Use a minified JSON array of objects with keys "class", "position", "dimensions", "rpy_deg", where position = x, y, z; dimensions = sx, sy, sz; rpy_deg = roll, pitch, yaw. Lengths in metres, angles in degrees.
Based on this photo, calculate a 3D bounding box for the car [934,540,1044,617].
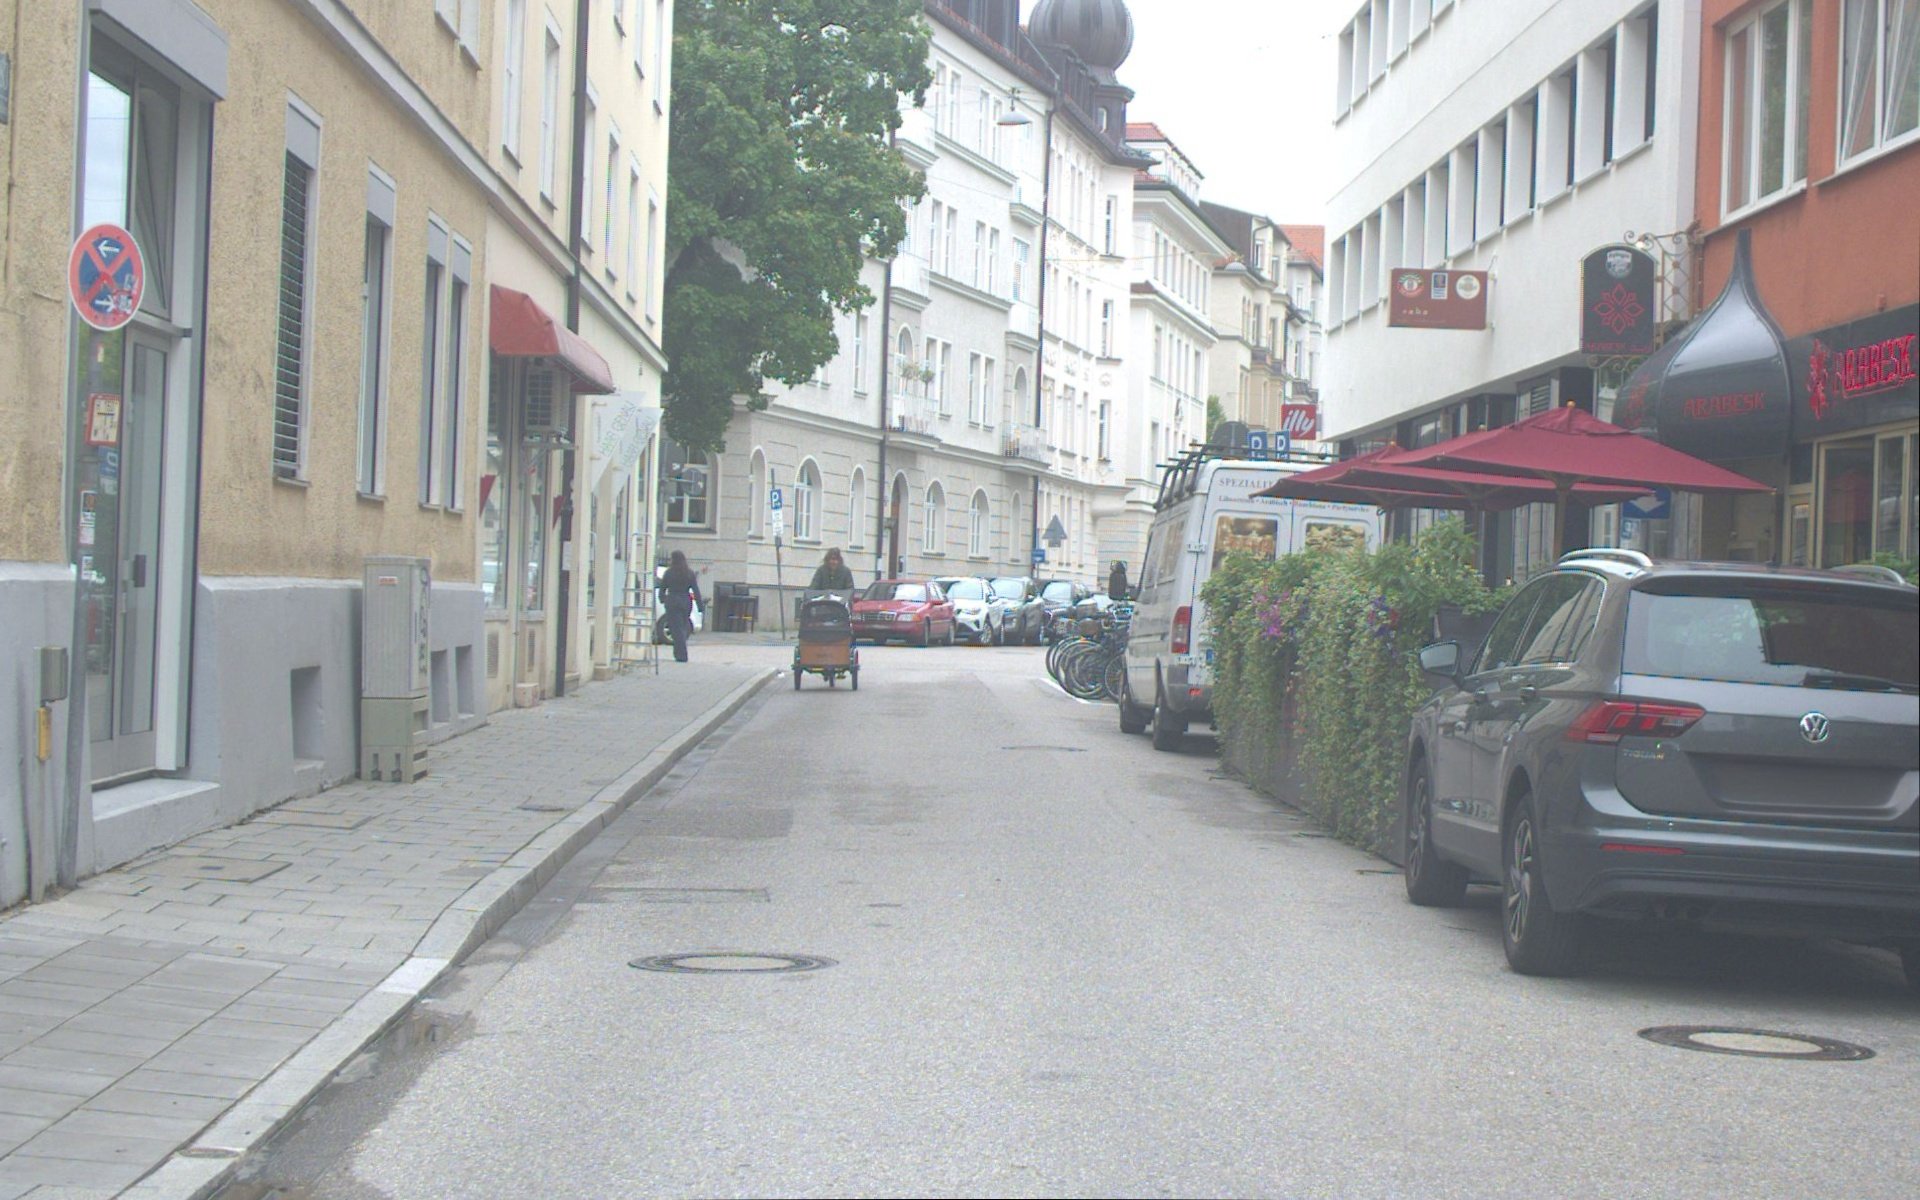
[{"class":"car","position":[0.720,-0.491,81.546],"dimensions":[1.943,1.696,3.998],"rpy_deg":[3,0,9]}]

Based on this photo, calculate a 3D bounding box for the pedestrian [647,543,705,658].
[{"class":"pedestrian","position":[-4.149,0.001,50.184],"dimensions":[0.692,1.627,0.663],"rpy_deg":[3,0,-11]}]

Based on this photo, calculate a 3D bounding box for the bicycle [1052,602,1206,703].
[{"class":"bicycle","position":[2.142,0.664,43.707],"dimensions":[1.873,1.200,0.488],"rpy_deg":[2,1,-3]}]

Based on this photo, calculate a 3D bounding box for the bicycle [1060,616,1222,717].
[{"class":"bicycle","position":[2.224,0.817,42.382],"dimensions":[1.873,1.076,0.488],"rpy_deg":[4,1,-3]}]

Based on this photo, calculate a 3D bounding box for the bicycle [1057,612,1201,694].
[{"class":"bicycle","position":[2.301,0.728,46.997],"dimensions":[1.873,1.048,0.564],"rpy_deg":[2,-1,-4]}]

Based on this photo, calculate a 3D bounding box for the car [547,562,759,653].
[{"class":"car","position":[-5.650,0.139,63.009],"dimensions":[3.757,1.572,2.000],"rpy_deg":[1,0,-7]}]

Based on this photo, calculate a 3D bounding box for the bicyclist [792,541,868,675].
[{"class":"bicyclist","position":[-1.686,0.100,44.771],"dimensions":[0.926,1.715,1.099],"rpy_deg":[1,0,0]}]

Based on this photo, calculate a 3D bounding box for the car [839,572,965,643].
[{"class":"car","position":[-1.169,0.165,71.587],"dimensions":[1.731,1.373,4.224],"rpy_deg":[2,0,11]}]

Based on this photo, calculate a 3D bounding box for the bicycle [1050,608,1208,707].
[{"class":"bicycle","position":[2.122,0.720,43.187],"dimensions":[1.873,1.104,0.488],"rpy_deg":[4,1,-3]}]

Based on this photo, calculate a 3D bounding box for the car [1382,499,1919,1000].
[{"class":"car","position":[2.990,0.532,14.392],"dimensions":[1.824,1.704,4.389],"rpy_deg":[3,0,0]}]

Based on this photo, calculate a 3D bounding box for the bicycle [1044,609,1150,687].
[{"class":"bicycle","position":[2.010,0.705,50.606],"dimensions":[1.450,1.066,0.463],"rpy_deg":[3,0,-8]}]

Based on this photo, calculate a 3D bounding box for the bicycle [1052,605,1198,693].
[{"class":"bicycle","position":[2.220,0.659,46.293],"dimensions":[1.873,1.091,0.440],"rpy_deg":[2,1,-4]}]

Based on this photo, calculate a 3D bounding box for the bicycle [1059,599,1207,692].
[{"class":"bicycle","position":[2.296,0.604,45.723],"dimensions":[1.893,1.166,0.566],"rpy_deg":[2,0,-3]}]

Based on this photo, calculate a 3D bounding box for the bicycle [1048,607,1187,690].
[{"class":"bicycle","position":[2.205,0.675,48.133],"dimensions":[1.873,1.076,0.408],"rpy_deg":[2,1,-4]}]

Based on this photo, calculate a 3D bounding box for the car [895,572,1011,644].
[{"class":"car","position":[-0.116,0.174,76.431],"dimensions":[1.994,1.468,4.217],"rpy_deg":[2,0,7]}]

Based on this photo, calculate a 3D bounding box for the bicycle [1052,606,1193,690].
[{"class":"bicycle","position":[2.250,0.668,47.695],"dimensions":[1.873,1.076,0.402],"rpy_deg":[2,1,-4]}]

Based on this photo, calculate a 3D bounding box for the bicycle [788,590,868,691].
[{"class":"bicycle","position":[-1.690,0.515,44.392],"dimensions":[0.932,1.253,2.414],"rpy_deg":[1,0,0]}]

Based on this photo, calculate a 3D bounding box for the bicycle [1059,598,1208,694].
[{"class":"bicycle","position":[2.272,0.601,45.122],"dimensions":[1.873,1.200,0.580],"rpy_deg":[1,0,-3]}]

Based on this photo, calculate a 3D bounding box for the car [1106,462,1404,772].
[{"class":"car","position":[2.609,0.113,31.905],"dimensions":[1.920,2.497,5.997],"rpy_deg":[3,0,-2]}]
